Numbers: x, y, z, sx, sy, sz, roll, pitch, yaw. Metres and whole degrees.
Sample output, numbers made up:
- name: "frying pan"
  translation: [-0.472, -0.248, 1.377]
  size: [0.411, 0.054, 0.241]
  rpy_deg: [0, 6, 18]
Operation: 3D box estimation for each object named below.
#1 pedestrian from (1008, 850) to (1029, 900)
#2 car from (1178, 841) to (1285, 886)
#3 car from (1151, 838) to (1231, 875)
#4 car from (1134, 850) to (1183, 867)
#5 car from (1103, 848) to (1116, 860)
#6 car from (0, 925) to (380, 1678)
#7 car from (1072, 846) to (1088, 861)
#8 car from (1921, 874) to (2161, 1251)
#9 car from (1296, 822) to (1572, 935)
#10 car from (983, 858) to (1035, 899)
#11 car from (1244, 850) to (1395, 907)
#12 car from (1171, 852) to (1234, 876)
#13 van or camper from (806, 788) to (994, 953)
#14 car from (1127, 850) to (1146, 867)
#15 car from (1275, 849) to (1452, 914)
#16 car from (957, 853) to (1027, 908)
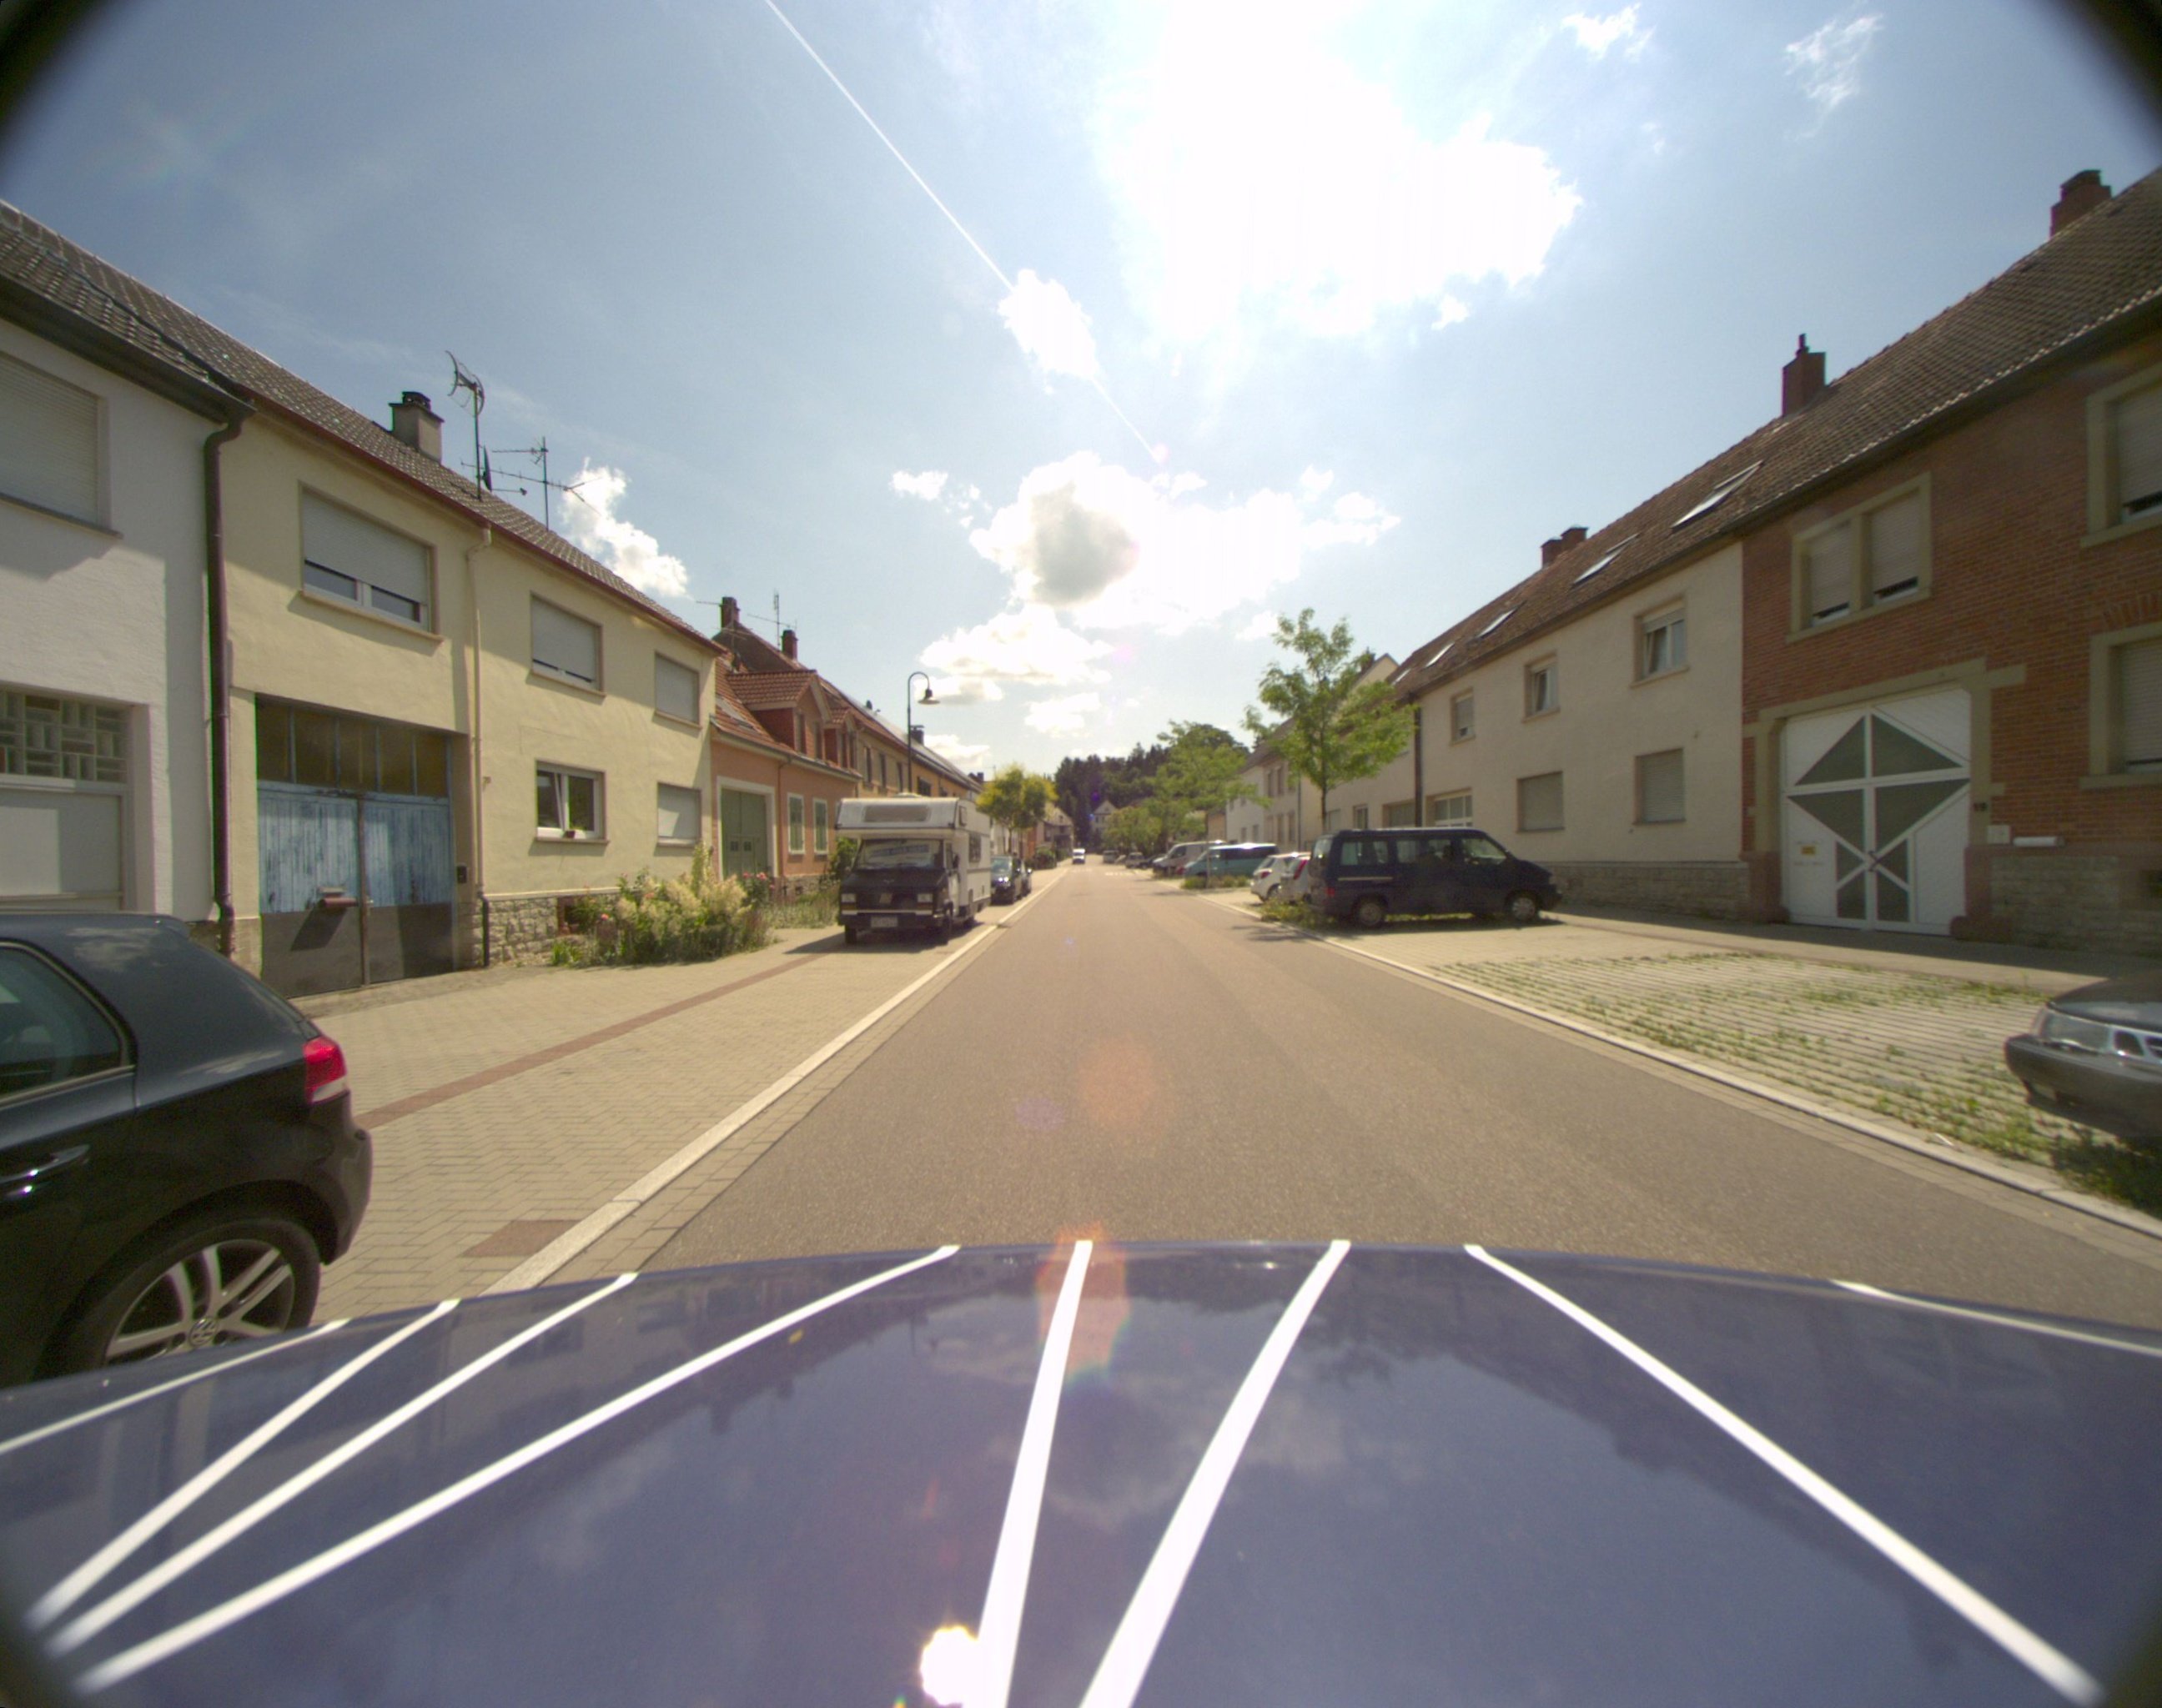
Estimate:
- name: "pedestrian"
  translation: [-2.377, 0.783, 28.870]
  size: [0.718, 1.842, 0.578]
  rpy_deg: [-1, 1, 1]
- name: "car"
  translation: [7.167, 0.418, 36.550]
  size: [4.688, 1.896, 2.000]
  rpy_deg: [-3, 1, 1]
- name: "car"
  translation: [7.606, 0.147, 52.883]
  size: [5.180, 2.275, 2.157]
  rpy_deg: [-3, 0, -1]
- name: "car"
  translation: [7.598, 0.429, 74.660]
  size: [4.598, 1.508, 1.901]
  rpy_deg: [-2, 0, 1]
- name: "car"
  translation: [4.940, 0.008, 130.905]
  size: [1.998, 1.968, 3.999]
  rpy_deg: [-1, 1, 0]
- name: "car"
  translation: [-3.226, 1.017, 0.472]
  size: [1.771, 1.520, 4.007]
  rpy_deg: [-1, 0, 1]
- name: "car"
  translation: [-0.097, -0.066, 127.088]
  size: [2.489, 2.306, 5.599]
  rpy_deg: [-3, 1, 0]
- name: "car"
  translation: [6.492, 0.774, 2.901]
  size: [4.535, 1.417, 1.796]
  rpy_deg: [-2, 0, 1]
- name: "car"
  translation: [6.943, 0.476, 15.358]
  size: [4.624, 1.984, 1.953]
  rpy_deg: [-2, 0, 3]
- name: "car"
  translation: [-2.901, 0.958, 31.424]
  size: [1.771, 1.480, 4.295]
  rpy_deg: [-1, 0, -1]
- name: "car"
  translation: [6.990, 0.694, 22.576]
  size: [3.925, 1.480, 1.773]
  rpy_deg: [-2, 0, 3]
- name: "car"
  translation: [7.831, 0.639, 49.159]
  size: [3.792, 1.377, 1.725]
  rpy_deg: [-3, 1, 1]
- name: "van or camper"
  translation: [-3.401, 0.294, 15.815]
  size: [2.479, 2.793, 5.790]
  rpy_deg: [0, 0, 1]
- name: "car"
  translation: [6.295, 0.530, 86.589]
  size: [1.844, 1.737, 4.687]
  rpy_deg: [-3, -1, 2]
- name: "car"
  translation: [7.218, 0.679, 19.744]
  size: [3.925, 1.480, 1.773]
  rpy_deg: [-2, 0, 3]
- name: "car"
  translation: [-2.970, 0.829, 26.174]
  size: [1.771, 1.695, 4.325]
  rpy_deg: [-1, 0, 1]
